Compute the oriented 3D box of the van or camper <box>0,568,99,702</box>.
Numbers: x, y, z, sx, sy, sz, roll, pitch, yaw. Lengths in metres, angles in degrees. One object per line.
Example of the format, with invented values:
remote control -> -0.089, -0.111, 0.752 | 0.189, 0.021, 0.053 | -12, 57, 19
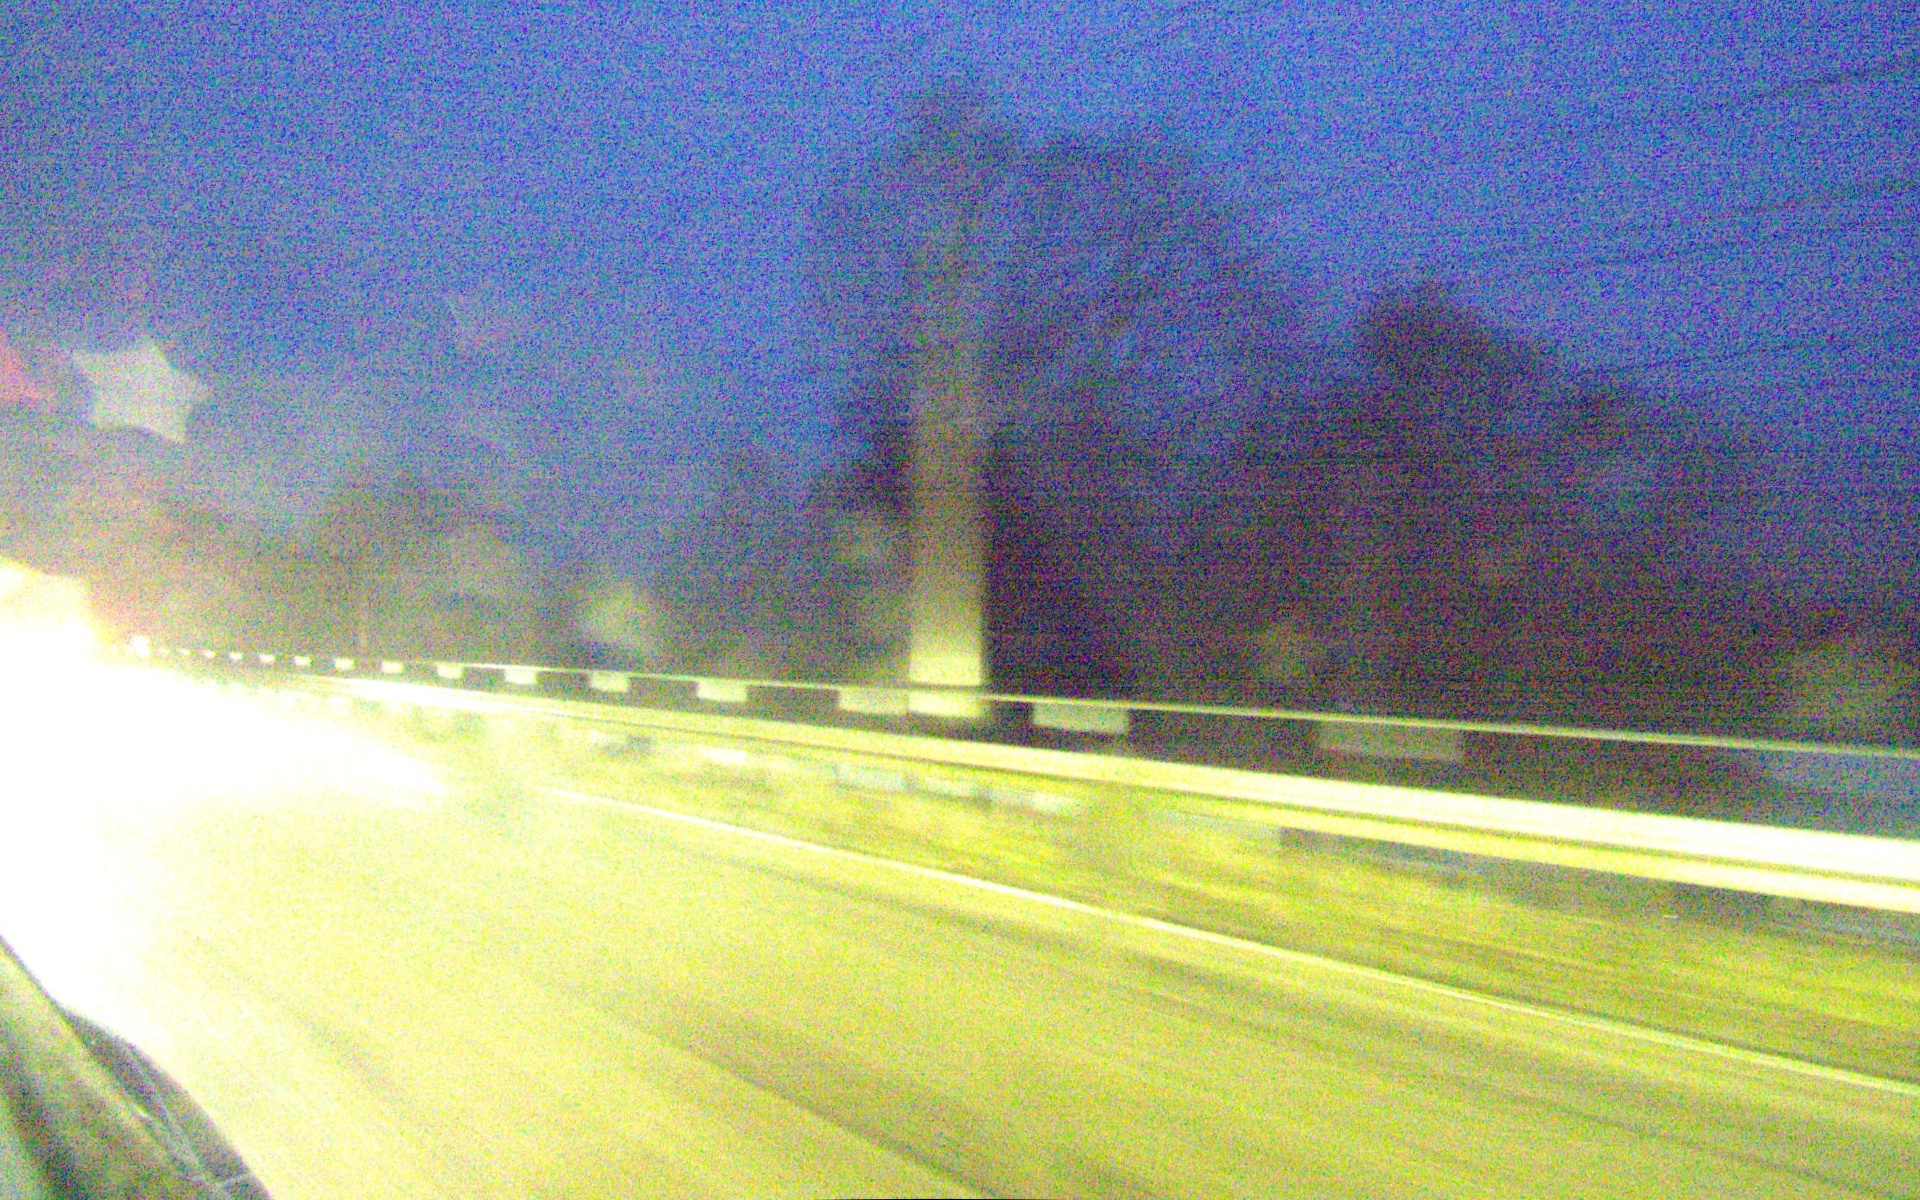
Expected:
van or camper -> -20.672, 0.744, 21.732 | 5.775, 2.585, 2.103 | -1, -4, 38
